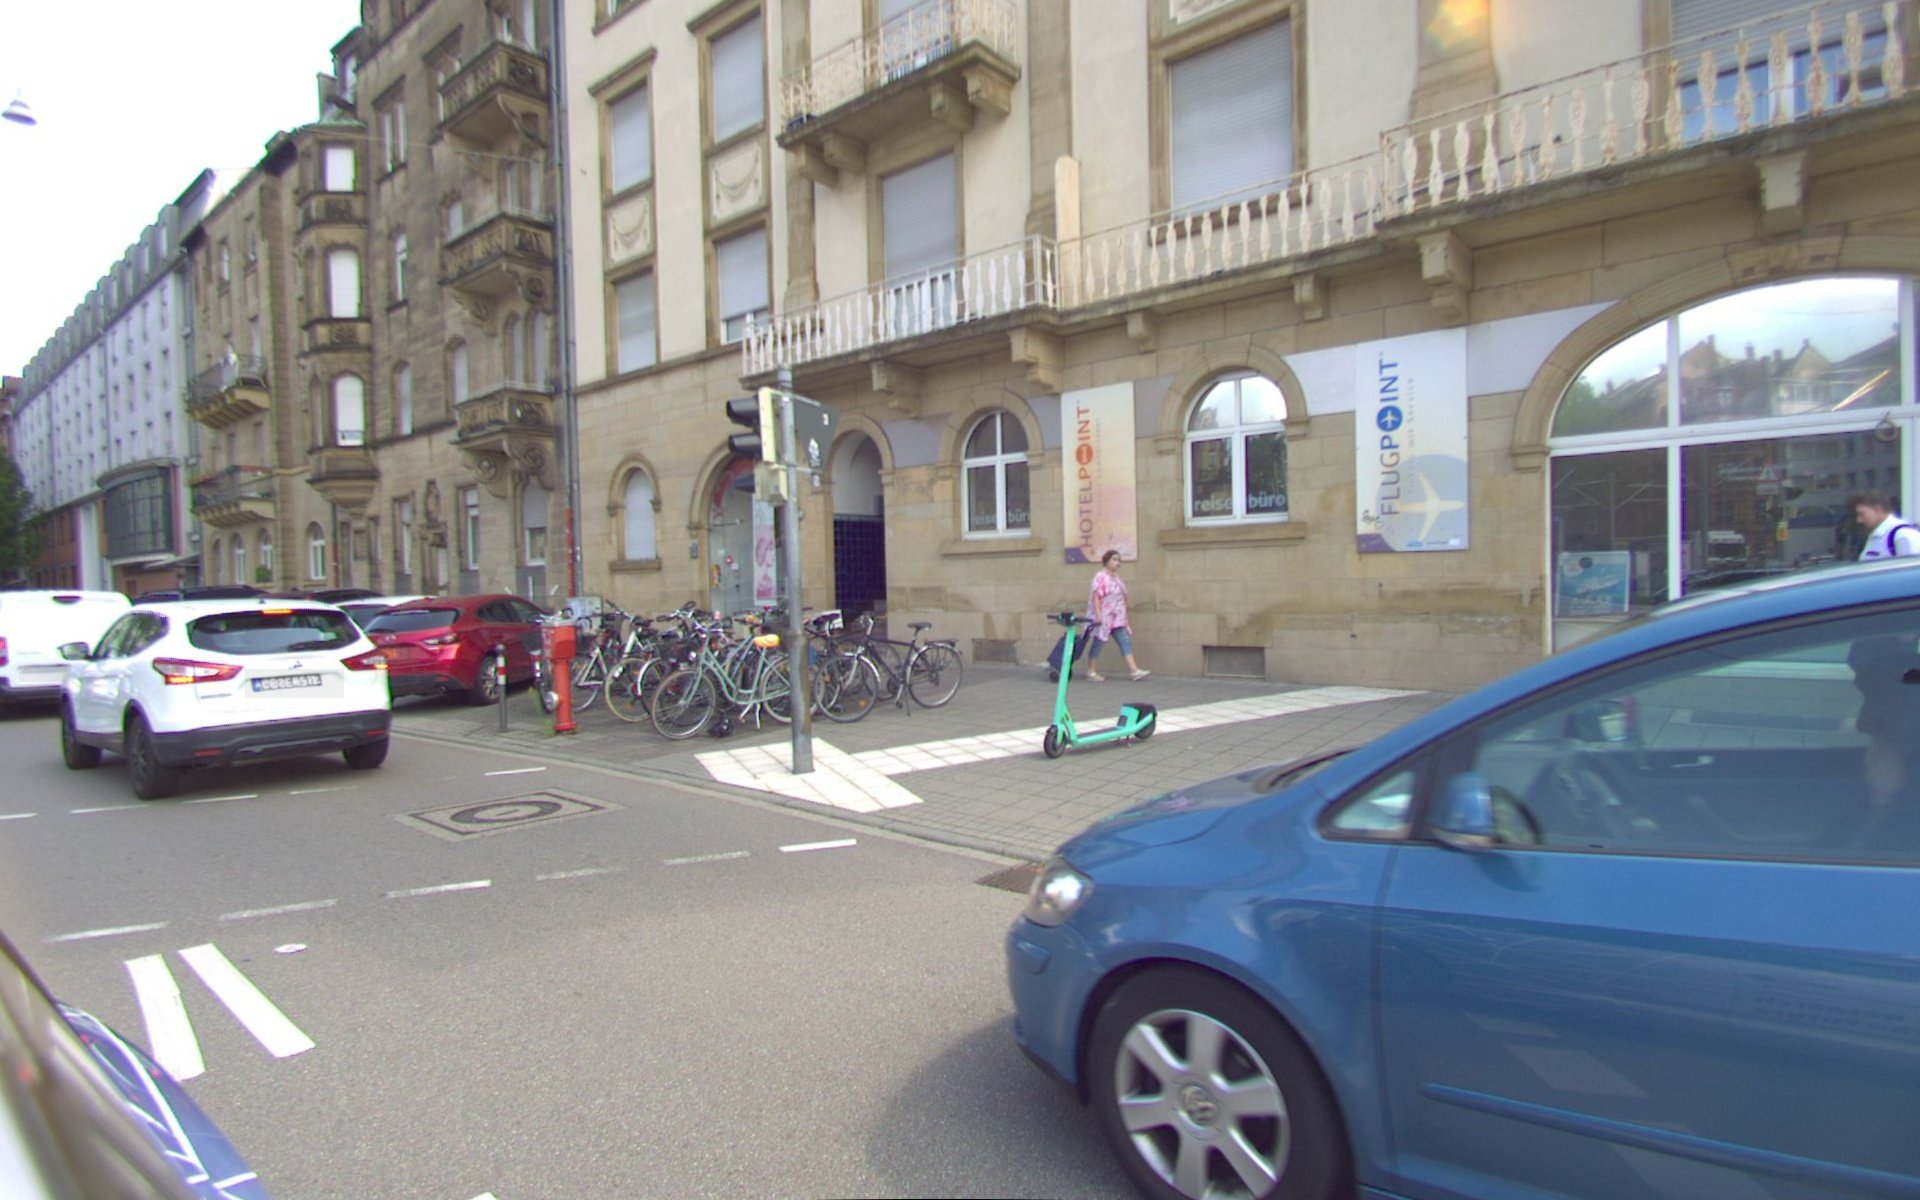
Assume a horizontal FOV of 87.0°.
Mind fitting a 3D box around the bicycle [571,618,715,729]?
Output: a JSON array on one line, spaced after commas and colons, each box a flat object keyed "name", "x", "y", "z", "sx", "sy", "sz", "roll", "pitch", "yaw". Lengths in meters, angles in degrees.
[{"name": "bicycle", "x": -3.545, "y": 0.791, "z": 11.409, "sx": 0.462, "sy": 1.059, "sz": 1.464, "roll": -1, "pitch": 3, "yaw": 41}]

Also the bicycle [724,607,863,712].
[{"name": "bicycle", "x": -1.945, "y": 0.666, "z": 11.987, "sx": 1.558, "sy": 1.059, "sz": 0.481, "roll": -5, "pitch": 3, "yaw": -42}]

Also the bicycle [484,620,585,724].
[{"name": "bicycle", "x": -5.180, "y": 0.837, "z": 12.424, "sx": 0.549, "sy": 1.059, "sz": 1.815, "roll": -3, "pitch": 2, "yaw": -5}]

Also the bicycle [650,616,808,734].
[{"name": "bicycle", "x": -2.441, "y": 0.762, "z": 10.812, "sx": 1.558, "sy": 1.059, "sz": 0.481, "roll": -5, "pitch": 3, "yaw": -42}]

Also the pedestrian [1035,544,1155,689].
[{"name": "pedestrian", "x": 1.636, "y": 0.179, "z": 12.244, "sx": 0.996, "sy": 1.606, "sz": 0.931, "roll": -1, "pitch": 4, "yaw": 42}]

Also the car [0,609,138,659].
[{"name": "car", "x": -30.355, "y": 1.115, "z": 34.275, "sx": 1.708, "sy": 1.485, "sz": 3.953, "roll": -2, "pitch": 1, "yaw": 1}]

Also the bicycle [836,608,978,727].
[{"name": "bicycle", "x": -0.528, "y": 0.660, "z": 10.480, "sx": 1.421, "sy": 1.059, "sz": 0.481, "roll": -5, "pitch": 3, "yaw": -40}]

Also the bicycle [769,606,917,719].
[{"name": "bicycle", "x": -1.276, "y": 0.654, "z": 11.242, "sx": 1.589, "sy": 1.059, "sz": 0.481, "roll": -5, "pitch": 3, "yaw": -42}]

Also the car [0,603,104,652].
[{"name": "car", "x": -35.439, "y": 1.049, "z": 38.799, "sx": 1.708, "sy": 1.597, "sz": 3.953, "roll": -4, "pitch": 2, "yaw": 1}]

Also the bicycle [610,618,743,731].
[{"name": "bicycle", "x": -3.096, "y": 0.785, "z": 11.147, "sx": 0.417, "sy": 1.059, "sz": 1.355, "roll": -2, "pitch": 3, "yaw": 39}]

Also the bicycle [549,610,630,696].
[{"name": "bicycle", "x": -5.386, "y": 0.742, "z": 14.813, "sx": 0.549, "sy": 1.059, "sz": 1.907, "roll": -3, "pitch": 2, "yaw": -4}]

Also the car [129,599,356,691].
[{"name": "car", "x": -14.773, "y": 0.858, "z": 21.151, "sx": 1.709, "sy": 1.439, "sz": 3.952, "roll": -4, "pitch": 3, "yaw": 3}]

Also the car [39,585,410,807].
[{"name": "car", "x": -6.824, "y": 0.744, "z": 9.244, "sx": 4.015, "sy": 1.594, "sz": 1.753, "roll": -2, "pitch": -2, "yaw": 39}]

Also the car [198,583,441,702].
[{"name": "car", "x": -11.579, "y": 0.670, "z": 18.672, "sx": 1.778, "sy": 1.701, "sz": 3.954, "roll": -4, "pitch": 3, "yaw": 2}]

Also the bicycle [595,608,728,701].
[{"name": "bicycle", "x": -3.954, "y": 0.694, "z": 13.507, "sx": 0.557, "sy": 1.059, "sz": 1.611, "roll": -1, "pitch": 3, "yaw": 40}]

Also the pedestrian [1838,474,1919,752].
[{"name": "pedestrian", "x": 6.771, "y": 0.076, "z": 7.061, "sx": 0.905, "sy": 1.873, "sz": 0.794, "roll": 3, "pitch": 4, "yaw": 41}]

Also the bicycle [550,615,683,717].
[{"name": "bicycle", "x": -4.140, "y": 0.765, "z": 12.299, "sx": 0.462, "sy": 1.059, "sz": 1.466, "roll": -2, "pitch": 3, "yaw": 38}]

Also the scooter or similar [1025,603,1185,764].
[{"name": "scooter or similar", "x": 1.204, "y": 0.645, "z": 8.304, "sx": 1.232, "sy": 1.154, "sz": 0.482, "roll": -4, "pitch": 3, "yaw": -31}]

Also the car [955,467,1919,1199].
[{"name": "car", "x": 2.045, "y": 0.586, "z": 2.123, "sx": 3.928, "sy": 1.552, "sz": 1.730, "roll": -1, "pitch": -1, "yaw": 39}]

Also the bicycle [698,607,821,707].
[{"name": "bicycle", "x": -2.451, "y": 0.673, "z": 12.510, "sx": 0.462, "sy": 1.059, "sz": 1.464, "roll": -1, "pitch": 3, "yaw": 42}]

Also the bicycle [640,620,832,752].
[{"name": "bicycle", "x": -2.169, "y": 0.797, "z": 9.916, "sx": 1.708, "sy": 1.059, "sz": 0.532, "roll": -5, "pitch": 3, "yaw": -33}]

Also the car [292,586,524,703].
[{"name": "car", "x": -9.185, "y": 0.645, "z": 17.261, "sx": 1.707, "sy": 1.467, "sz": 3.956, "roll": -4, "pitch": 3, "yaw": 0}]

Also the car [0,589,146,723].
[{"name": "car", "x": -14.110, "y": 0.810, "z": 15.497, "sx": 4.280, "sy": 1.789, "sz": 1.794, "roll": -2, "pitch": -1, "yaw": 40}]

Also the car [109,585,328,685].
[{"name": "car", "x": -16.685, "y": 0.705, "z": 23.039, "sx": 1.710, "sy": 1.881, "sz": 3.947, "roll": -3, "pitch": 2, "yaw": 7}]

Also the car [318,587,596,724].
[{"name": "car", "x": -6.994, "y": 0.671, "z": 14.602, "sx": 1.788, "sy": 1.467, "sz": 3.997, "roll": -3, "pitch": 3, "yaw": 3}]

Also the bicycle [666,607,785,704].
[{"name": "bicycle", "x": -2.955, "y": 0.678, "z": 12.869, "sx": 0.462, "sy": 1.059, "sz": 1.466, "roll": -2, "pitch": 3, "yaw": 38}]
